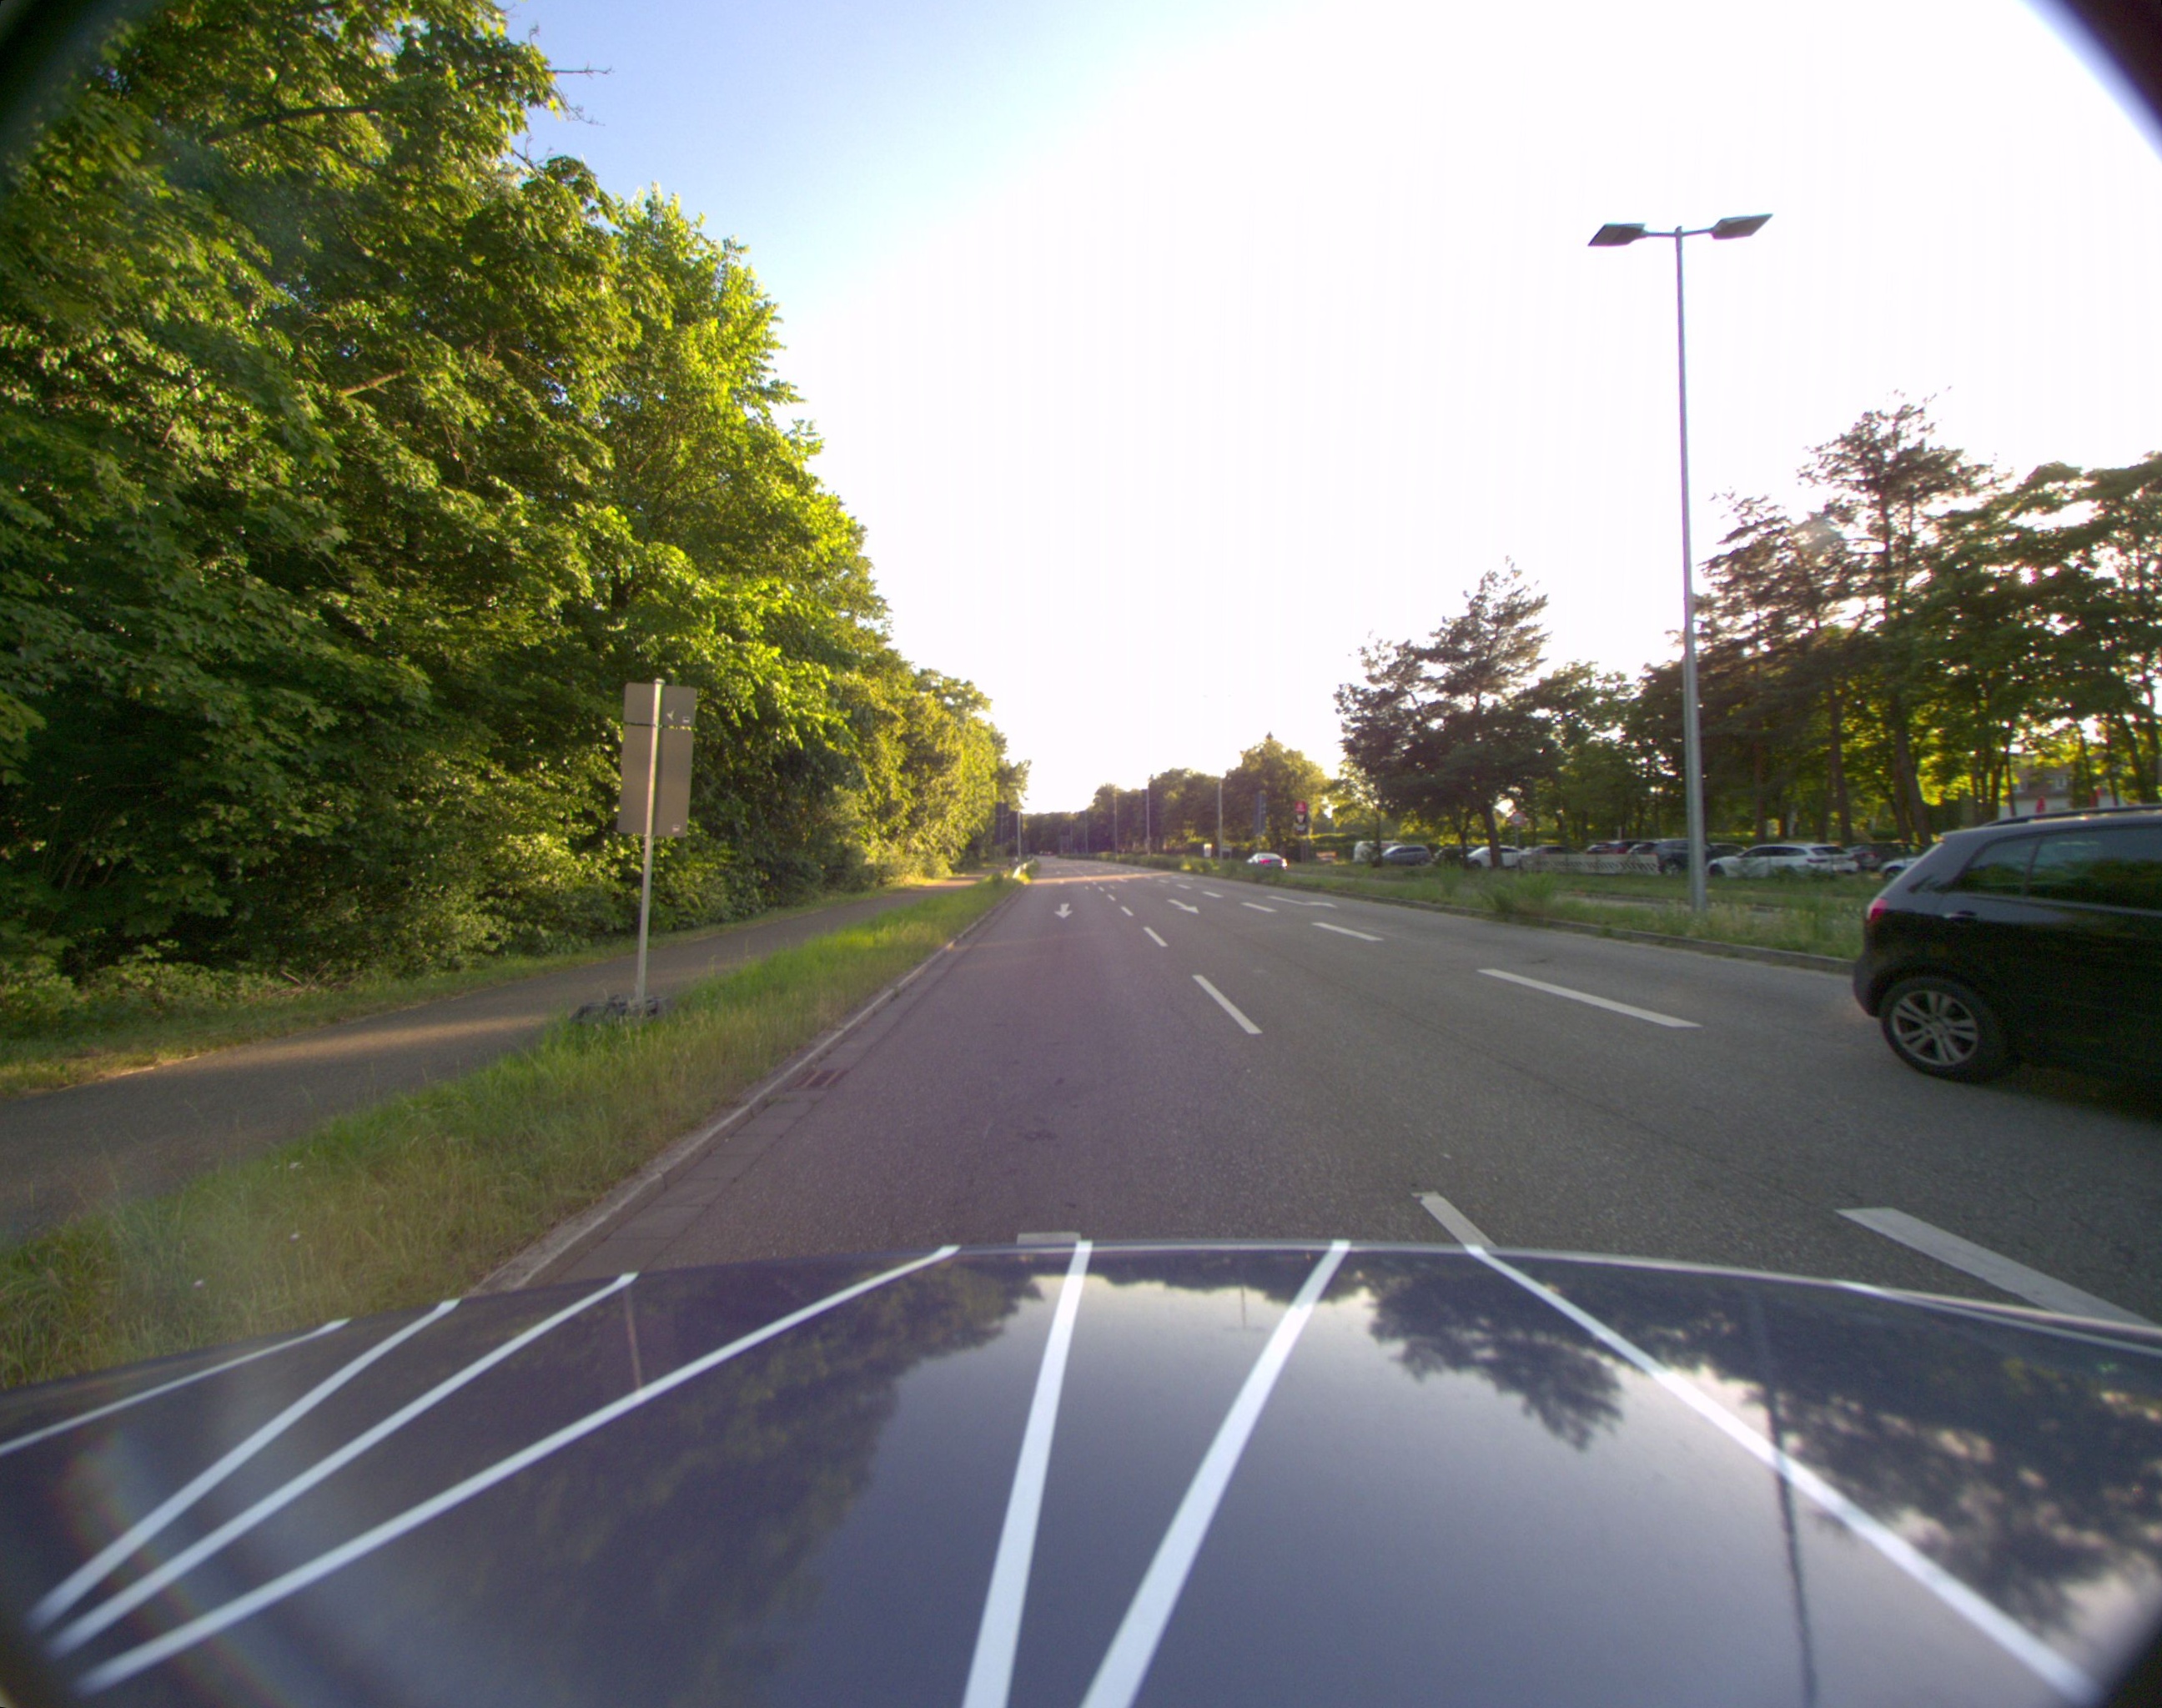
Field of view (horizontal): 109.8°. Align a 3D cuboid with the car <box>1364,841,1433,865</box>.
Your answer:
[{"bbox_3d":[24.203,-0.092,58.031,4.498,1.787,1.909,-1,1,-2],"label":"car"}]

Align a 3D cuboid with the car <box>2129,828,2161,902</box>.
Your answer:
[{"bbox_3d":[27.106,0.265,16.420,1.999,1.776,4.920,-1,1,-4],"label":"car"}]

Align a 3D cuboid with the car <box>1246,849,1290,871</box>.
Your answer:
[{"bbox_3d":[13.154,0.413,53.687,1.896,1.433,4.499,-1,1,-1],"label":"car"}]

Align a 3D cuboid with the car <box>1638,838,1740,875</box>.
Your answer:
[{"bbox_3d":[26.047,0.106,32.601,3.099,1.518,1.659,-1,1,-2],"label":"car"}]

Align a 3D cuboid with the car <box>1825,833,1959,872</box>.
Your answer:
[{"bbox_3d":[35.419,-0.065,33.247,3.997,1.641,1.766,-1,1,-1],"label":"car"}]

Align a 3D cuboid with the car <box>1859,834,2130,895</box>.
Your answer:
[{"bbox_3d":[26.775,0.253,22.627,1.999,1.597,4.920,-1,0,-4],"label":"car"}]

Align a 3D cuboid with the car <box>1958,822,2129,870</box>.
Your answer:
[{"bbox_3d":[34.980,-0.279,27.691,3.997,1.641,1.766,-1,1,-1],"label":"car"}]

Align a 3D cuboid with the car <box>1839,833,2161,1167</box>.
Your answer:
[{"bbox_3d":[6.006,0.663,2.982,1.999,1.543,3.999,-1,0,-2],"label":"car"}]

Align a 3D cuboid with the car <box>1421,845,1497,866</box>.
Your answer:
[{"bbox_3d":[24.137,0.079,48.647,3.997,1.304,1.732,-1,1,-1],"label":"car"}]

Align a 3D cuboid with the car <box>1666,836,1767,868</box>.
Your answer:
[{"bbox_3d":[34.078,-0.113,40.802,3.997,1.641,1.766,-1,1,-1],"label":"car"}]

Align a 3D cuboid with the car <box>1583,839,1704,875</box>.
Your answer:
[{"bbox_3d":[26.569,0.114,35.954,4.525,1.608,1.771,-1,1,-3],"label":"car"}]

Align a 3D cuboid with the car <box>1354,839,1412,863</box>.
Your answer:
[{"bbox_3d":[24.223,-0.245,61.069,3.998,1.933,1.766,-1,1,-2],"label":"car"}]

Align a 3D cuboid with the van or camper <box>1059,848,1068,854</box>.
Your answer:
[{"bbox_3d":[-5.691,-0.860,252.000,2.001,2.002,4.572,-1,0,-13],"label":"van or camper"}]

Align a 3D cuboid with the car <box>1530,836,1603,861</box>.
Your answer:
[{"bbox_3d":[34.119,-0.393,53.483,3.997,1.641,1.766,-1,1,-1],"label":"car"}]

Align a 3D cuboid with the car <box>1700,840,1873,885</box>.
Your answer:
[{"bbox_3d":[26.419,0.264,28.736,1.999,1.539,4.708,-1,1,-4],"label":"car"}]

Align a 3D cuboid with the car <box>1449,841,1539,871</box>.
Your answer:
[{"bbox_3d":[25.167,0.137,46.406,4.497,1.743,1.909,-1,1,-1],"label":"car"}]
